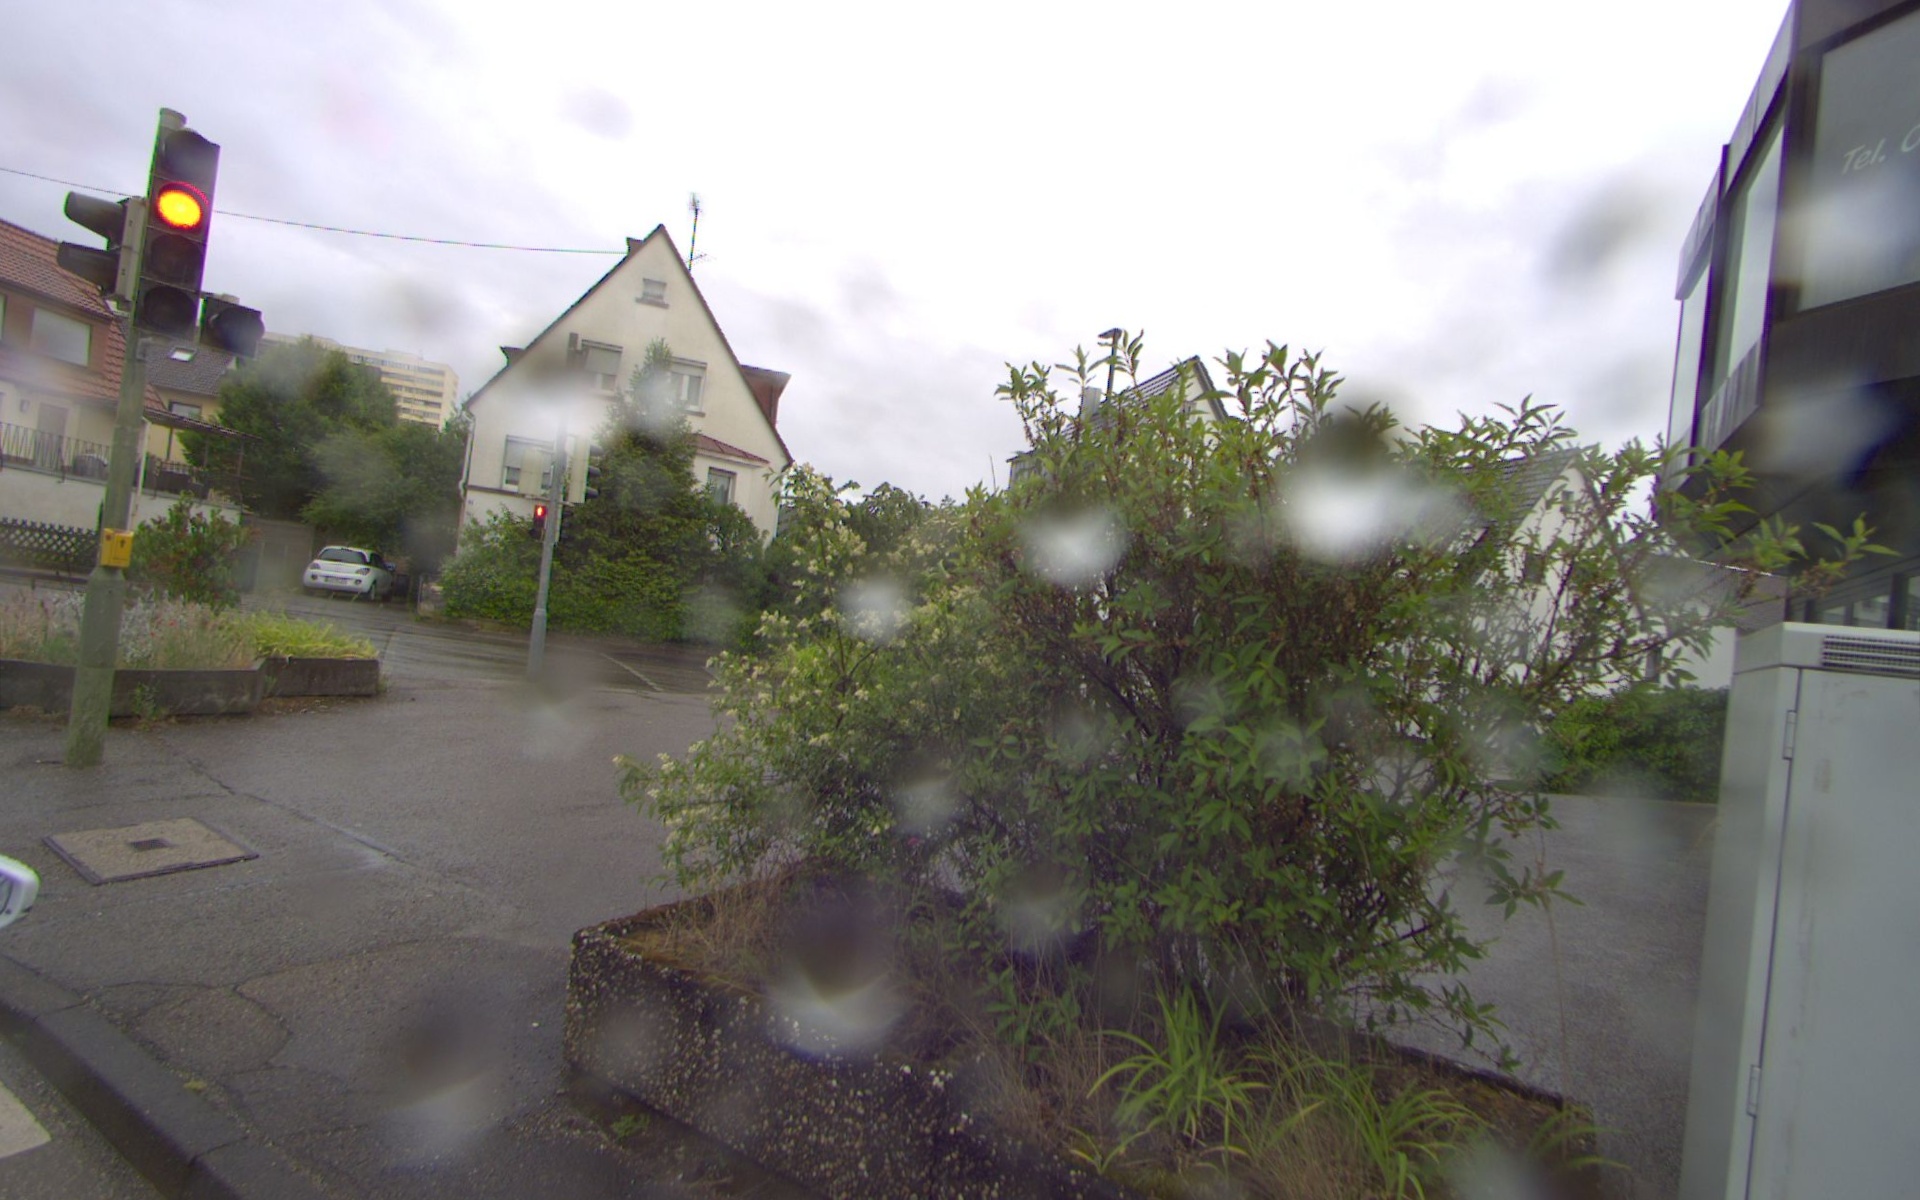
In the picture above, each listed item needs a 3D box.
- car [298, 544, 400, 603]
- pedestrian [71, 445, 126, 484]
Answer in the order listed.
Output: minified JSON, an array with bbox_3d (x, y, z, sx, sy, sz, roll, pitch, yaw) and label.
[{"bbox_3d":[-17.761,-0.749,29.421,1.794,1.378,3.981,8,-2,-22],"label":"car"},{"bbox_3d":[-24.277,-3.805,28.371,0.623,0.893,0.920,5,-2,13],"label":"pedestrian"}]
